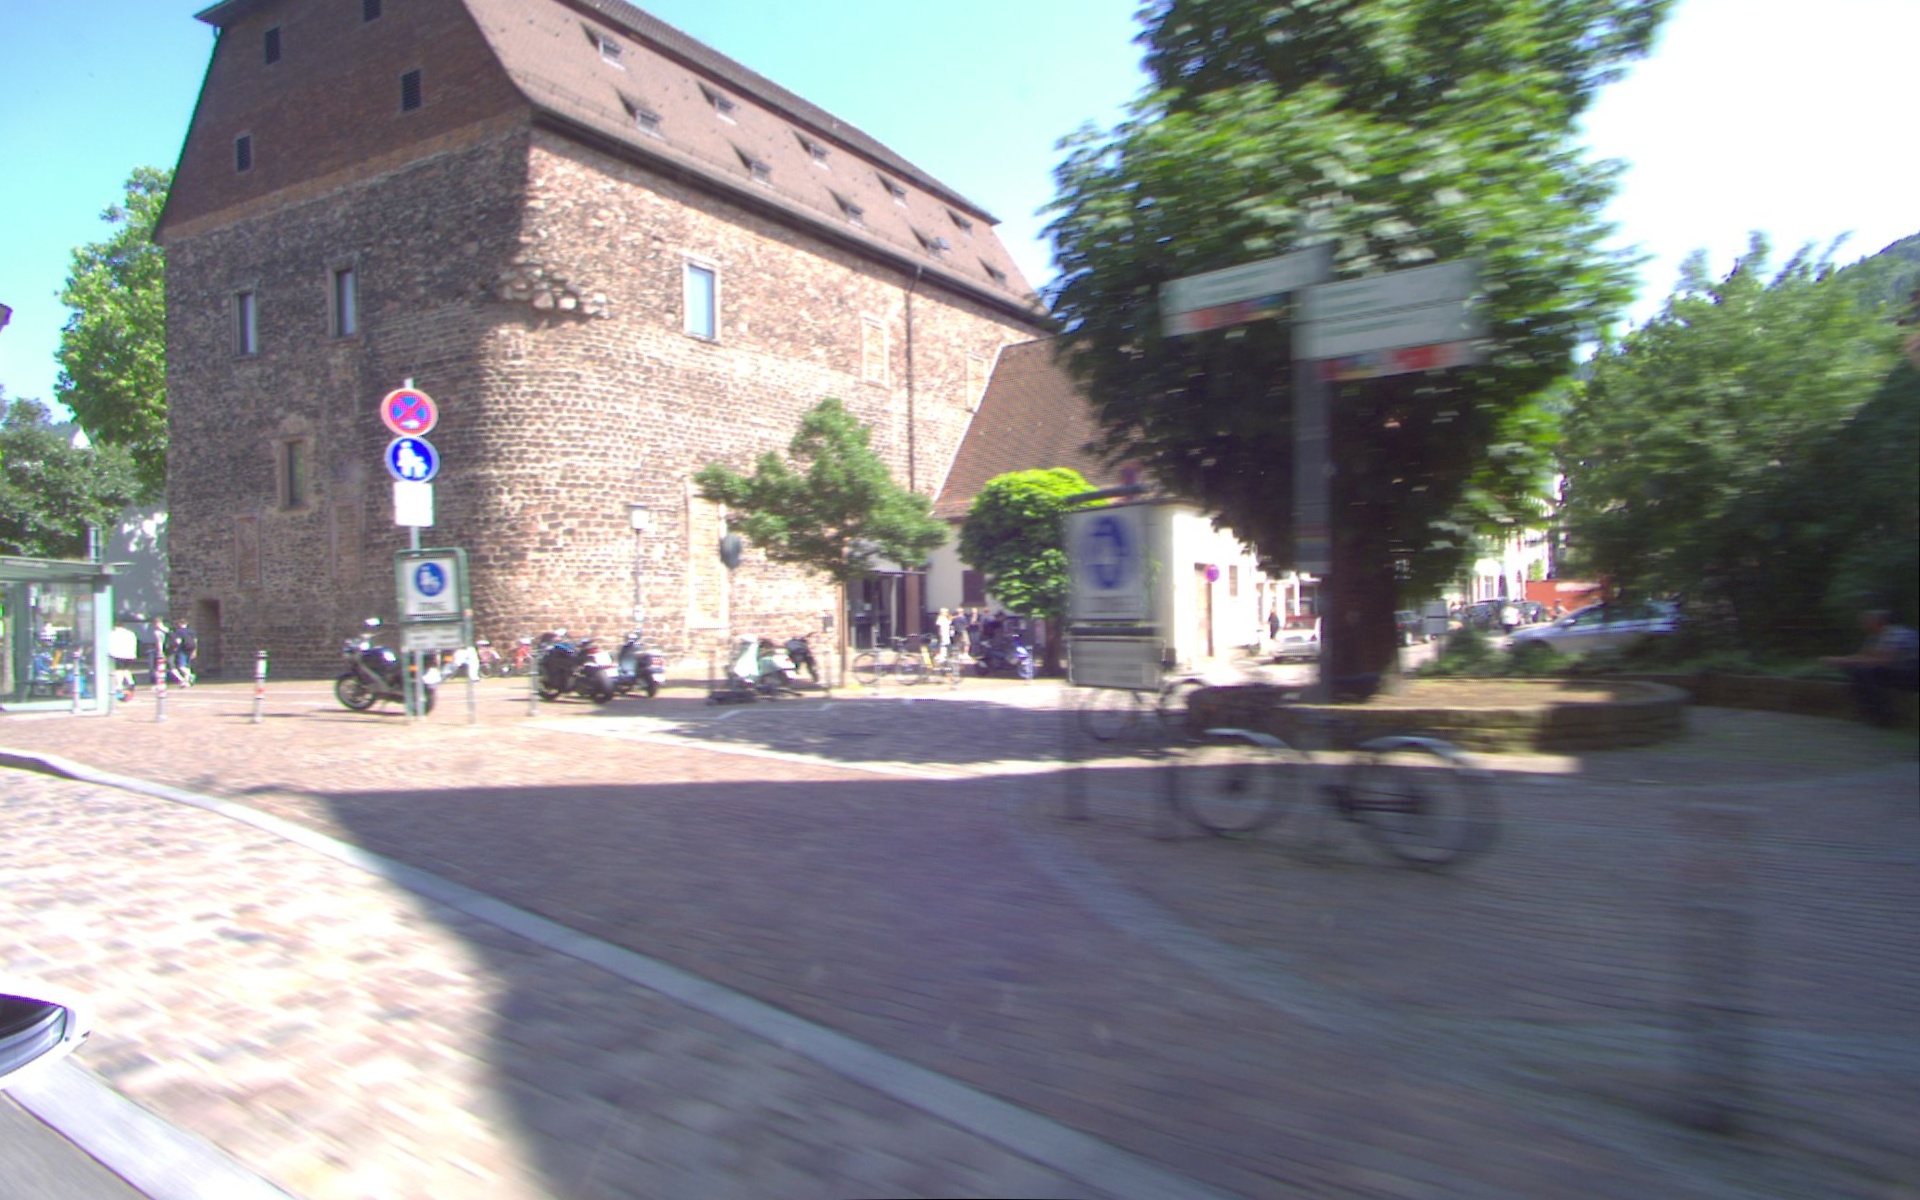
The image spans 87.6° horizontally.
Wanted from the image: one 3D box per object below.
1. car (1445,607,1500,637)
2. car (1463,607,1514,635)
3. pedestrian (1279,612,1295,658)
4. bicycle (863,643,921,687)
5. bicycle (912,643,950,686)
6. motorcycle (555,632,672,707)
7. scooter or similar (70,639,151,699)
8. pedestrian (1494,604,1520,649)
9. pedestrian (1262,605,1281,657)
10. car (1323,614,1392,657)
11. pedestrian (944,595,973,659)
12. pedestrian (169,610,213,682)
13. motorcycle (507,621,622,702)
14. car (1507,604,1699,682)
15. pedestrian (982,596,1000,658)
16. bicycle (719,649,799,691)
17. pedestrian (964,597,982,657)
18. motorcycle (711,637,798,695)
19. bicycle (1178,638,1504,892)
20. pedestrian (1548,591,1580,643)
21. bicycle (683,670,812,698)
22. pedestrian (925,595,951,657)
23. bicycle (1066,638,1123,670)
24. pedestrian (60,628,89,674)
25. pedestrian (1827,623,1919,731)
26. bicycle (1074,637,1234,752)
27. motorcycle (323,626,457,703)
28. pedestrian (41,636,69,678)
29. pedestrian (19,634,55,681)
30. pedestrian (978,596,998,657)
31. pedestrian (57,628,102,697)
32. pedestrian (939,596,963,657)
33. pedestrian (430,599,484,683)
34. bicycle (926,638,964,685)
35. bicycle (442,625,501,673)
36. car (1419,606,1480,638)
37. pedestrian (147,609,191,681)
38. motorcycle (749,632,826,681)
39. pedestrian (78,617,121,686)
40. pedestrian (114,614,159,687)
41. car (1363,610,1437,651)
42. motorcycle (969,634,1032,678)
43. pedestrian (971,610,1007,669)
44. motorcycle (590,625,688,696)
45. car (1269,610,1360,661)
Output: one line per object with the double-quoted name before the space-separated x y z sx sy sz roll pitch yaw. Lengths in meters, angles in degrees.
"car" 27.095 1.191 52.870 1.975 1.431 3.976 -2 -4 36
"car" 30.136 1.236 57.056 1.975 1.431 3.976 -2 -4 36
"pedestrian" 11.553 1.243 35.364 0.435 1.603 0.458 0 1 34
"bicycle" -1.557 1.472 22.723 1.362 0.978 0.359 -2 -3 32
"bicycle" -0.677 1.499 23.256 0.355 0.961 1.377 1 -3 -26
"motorcycle" -6.090 1.216 17.557 2.280 1.250 0.674 -2 -3 33
"scooter or similar" -15.900 1.287 18.757 0.318 1.079 1.087 -2 -3 30
"pedestrian" 19.817 0.951 36.250 0.711 1.607 0.722 -2 0 35
"pedestrian" 11.103 1.116 35.663 0.464 1.829 0.532 1 0 34
"car" 14.538 1.288 36.543 1.473 1.473 3.138 -2 -2 39
"pedestrian" -0.049 0.894 32.612 0.759 2.038 0.692 -1 -3 20
"pedestrian" -22.144 1.327 28.836 0.866 2.038 0.729 -2 -3 32
"motorcycle" -6.615 1.023 16.707 2.169 1.282 0.654 -2 -2 33
"car" 16.377 1.141 25.588 3.951 1.843 1.723 -3 -4 38
"pedestrian" 1.042 0.899 33.164 0.435 2.038 0.620 -1 -2 17
"bicycle" -4.175 1.431 20.732 1.898 0.831 0.353 -1 -2 32
"pedestrian" 0.450 0.922 34.236 0.499 2.038 0.442 -1 -2 21
"motorcycle" -4.007 1.275 19.456 1.814 1.086 0.506 -2 -3 33
"bicycle" 2.023 0.827 5.547 1.750 1.219 0.192 -1 -1 44
"pedestrian" 24.412 0.719 40.468 1.011 2.038 0.973 -2 -3 35
"bicycle" -3.527 1.388 16.729 1.916 0.386 0.909 1 -3 -43
"pedestrian" -0.736 0.888 33.373 0.787 2.038 0.735 0 -2 -8
"bicycle" 3.836 1.558 28.565 1.566 0.890 0.419 -2 -3 32
"pedestrian" -30.404 1.746 34.383 0.460 1.551 0.621 -2 -3 36
"pedestrian" 9.558 0.797 10.449 0.640 1.081 0.628 -2 -3 31
"bicycle" 2.116 1.005 11.036 1.707 1.177 0.445 -1 -1 36
"motorcycle" -8.160 0.890 14.282 2.454 1.025 0.565 -1 -1 32
"pedestrian" -45.029 2.832 49.800 0.728 2.038 0.838 -2 -3 33
"pedestrian" -40.372 2.502 43.808 0.796 2.038 0.943 -2 -3 33
"pedestrian" 0.951 0.918 33.951 0.520 2.038 0.439 -3 -3 45
"pedestrian" -18.325 1.296 20.846 0.580 1.402 0.556 -2 -3 35
"pedestrian" -0.305 0.921 34.241 0.556 2.038 0.648 1 -3 -29
"pedestrian" -12.051 0.971 24.007 0.898 1.974 0.829 -1 0 -5
"bicycle" -0.369 1.452 23.889 0.355 1.098 1.376 1 -2 -26
"bicycle" -12.771 1.294 26.159 1.691 1.224 0.388 -2 -3 25
"car" 24.000 1.111 49.035 1.975 1.431 3.975 -3 -4 37
"pedestrian" -21.836 1.258 27.641 0.809 1.944 0.667 -2 -3 32
"motorcycle" -3.900 1.287 22.811 0.474 1.066 1.858 -2 -4 40
"pedestrian" -23.297 1.395 27.123 0.835 1.825 0.651 -1 -2 32
"pedestrian" -21.790 1.338 26.505 0.809 1.907 0.667 -2 -3 32
"car" 18.159 1.241 41.246 1.974 1.610 3.975 -2 -2 36
"motorcycle" 1.042 1.438 25.867 1.587 1.047 0.387 2 -1 26
"pedestrian" 0.832 1.130 28.820 0.799 1.684 0.652 -1 0 -33
"motorcycle" -5.890 1.106 18.330 2.002 1.250 0.545 -2 -3 33
"car" 11.777 1.159 33.115 1.814 1.591 3.823 -2 -2 36
